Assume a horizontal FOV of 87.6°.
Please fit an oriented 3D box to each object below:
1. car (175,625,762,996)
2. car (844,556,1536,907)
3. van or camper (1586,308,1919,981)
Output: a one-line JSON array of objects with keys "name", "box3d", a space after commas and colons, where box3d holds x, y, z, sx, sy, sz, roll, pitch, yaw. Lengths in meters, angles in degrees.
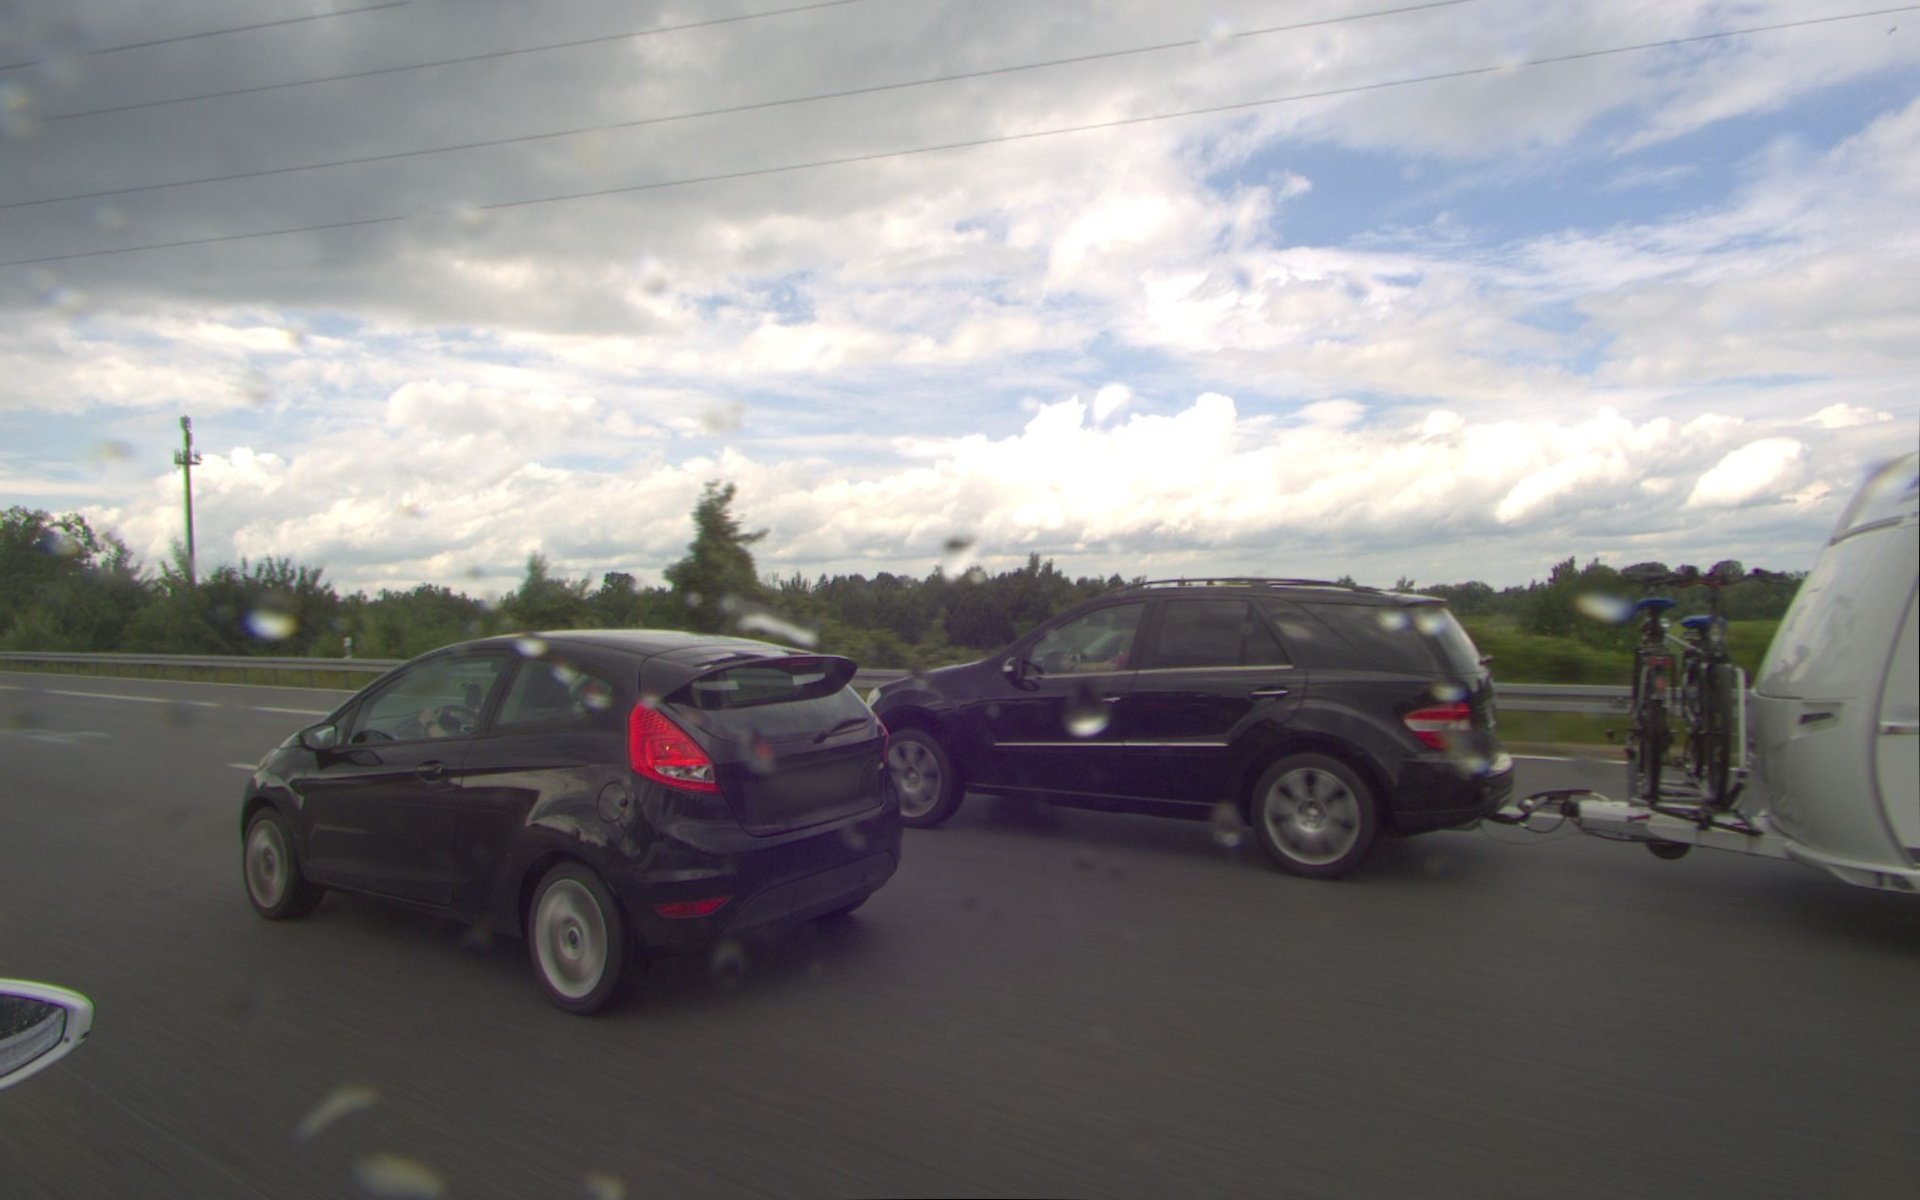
[{"name": "car", "box3d": [-2.717, 0.874, 5.405, 3.119, 1.460, 1.444, -1, -1, 32]}, {"name": "car", "box3d": [1.517, 0.743, 7.128, 4.437, 1.799, 1.917, -1, -2, 31]}, {"name": "van or camper", "box3d": [6.641, 0.166, 3.857, 7.105, 2.773, 2.381, -1, -2, 32]}]
